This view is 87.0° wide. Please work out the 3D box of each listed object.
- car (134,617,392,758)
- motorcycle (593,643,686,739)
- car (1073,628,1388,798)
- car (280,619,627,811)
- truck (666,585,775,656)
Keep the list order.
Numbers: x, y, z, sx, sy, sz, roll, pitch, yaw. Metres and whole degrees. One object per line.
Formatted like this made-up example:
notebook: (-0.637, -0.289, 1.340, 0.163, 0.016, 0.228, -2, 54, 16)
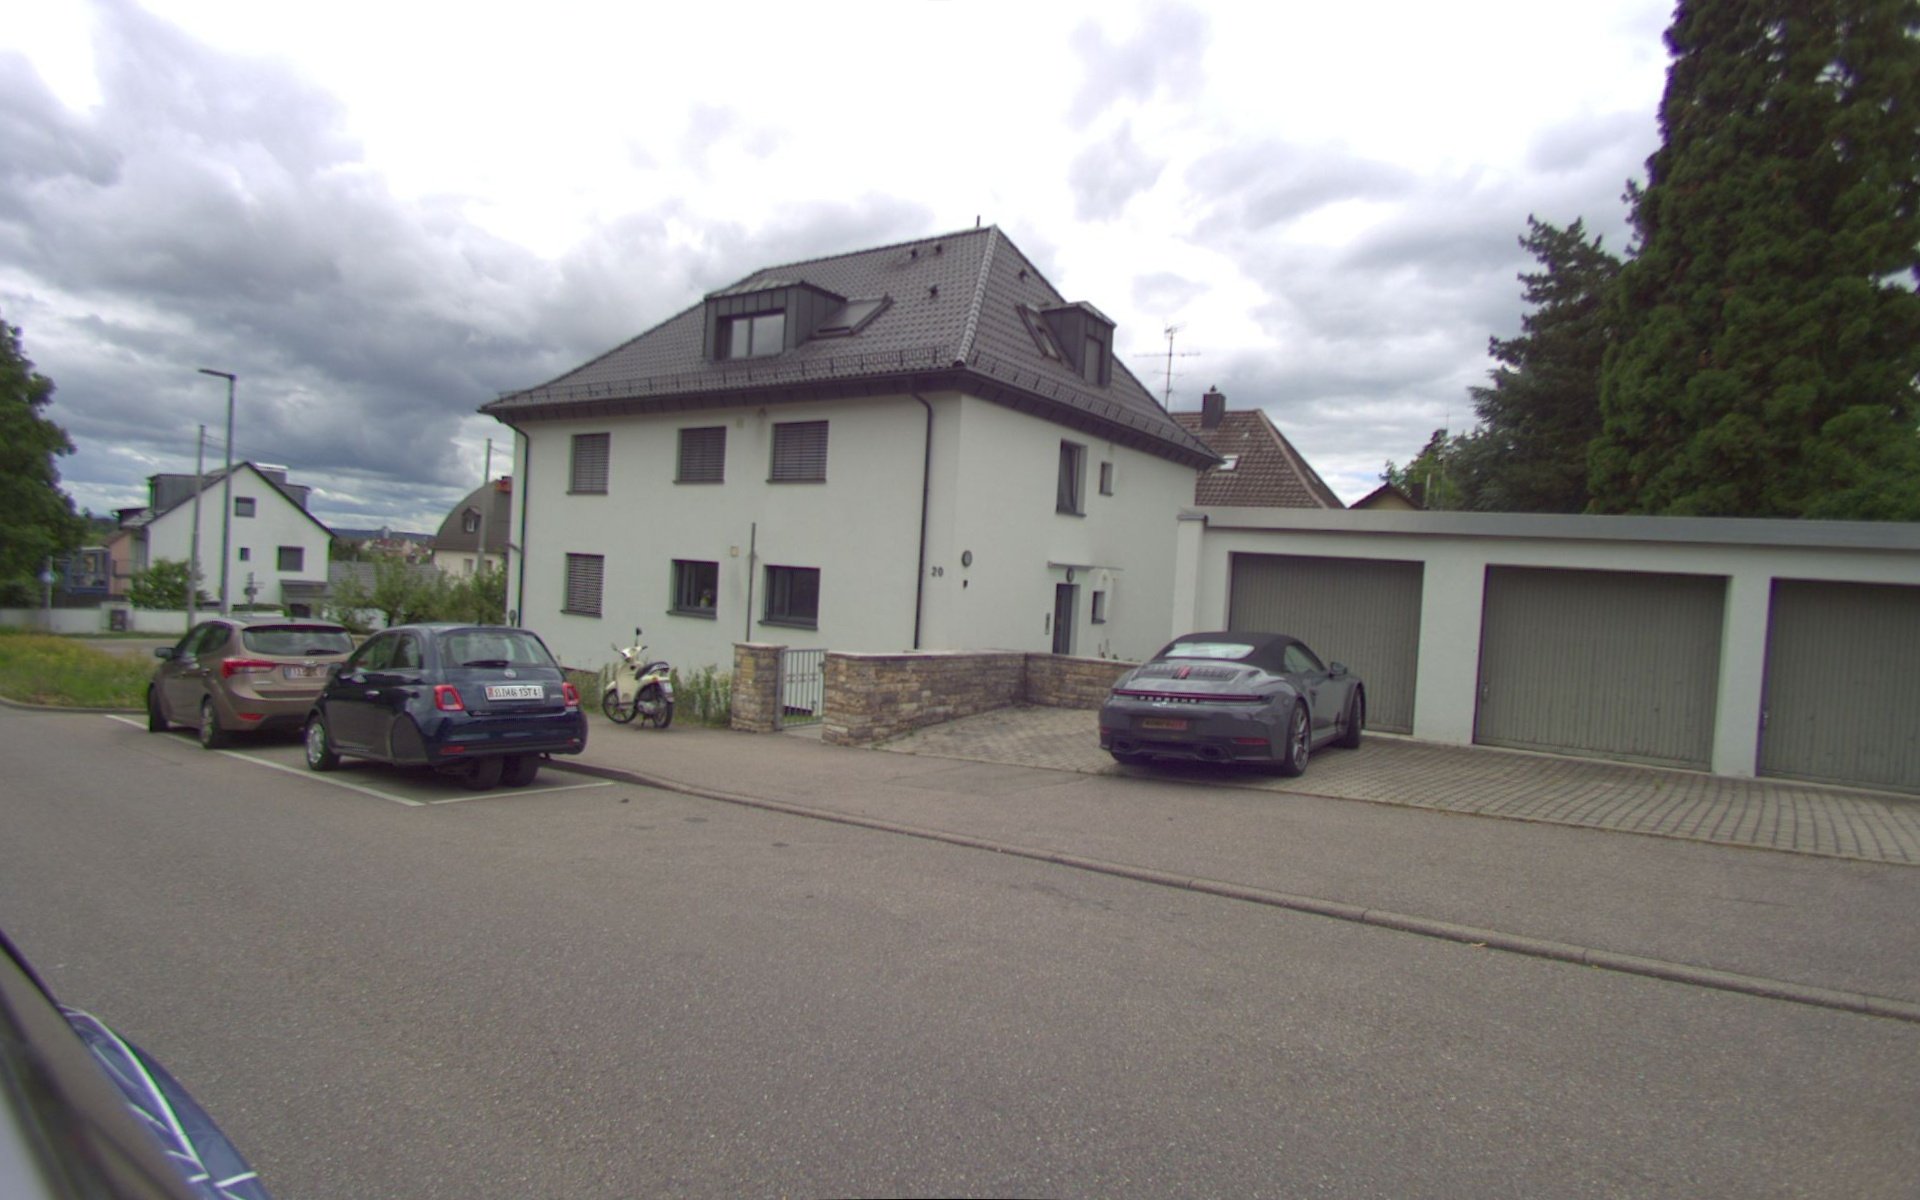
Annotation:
car: (-9.330, 1.038, 13.455, 3.869, 1.597, 1.858, -1, -2, 40)
motorcycle: (-4.391, 1.203, 13.799, 0.424, 1.169, 1.865, 3, -2, -42)
car: (3.006, 0.981, 10.544, 1.899, 1.378, 4.250, -1, -2, 34)
car: (-5.127, 0.979, 10.109, 3.504, 1.548, 1.858, -1, -2, 40)
truck: (-16.732, 1.540, 71.392, 3.135, 4.585, 7.892, 4, -1, 22)
